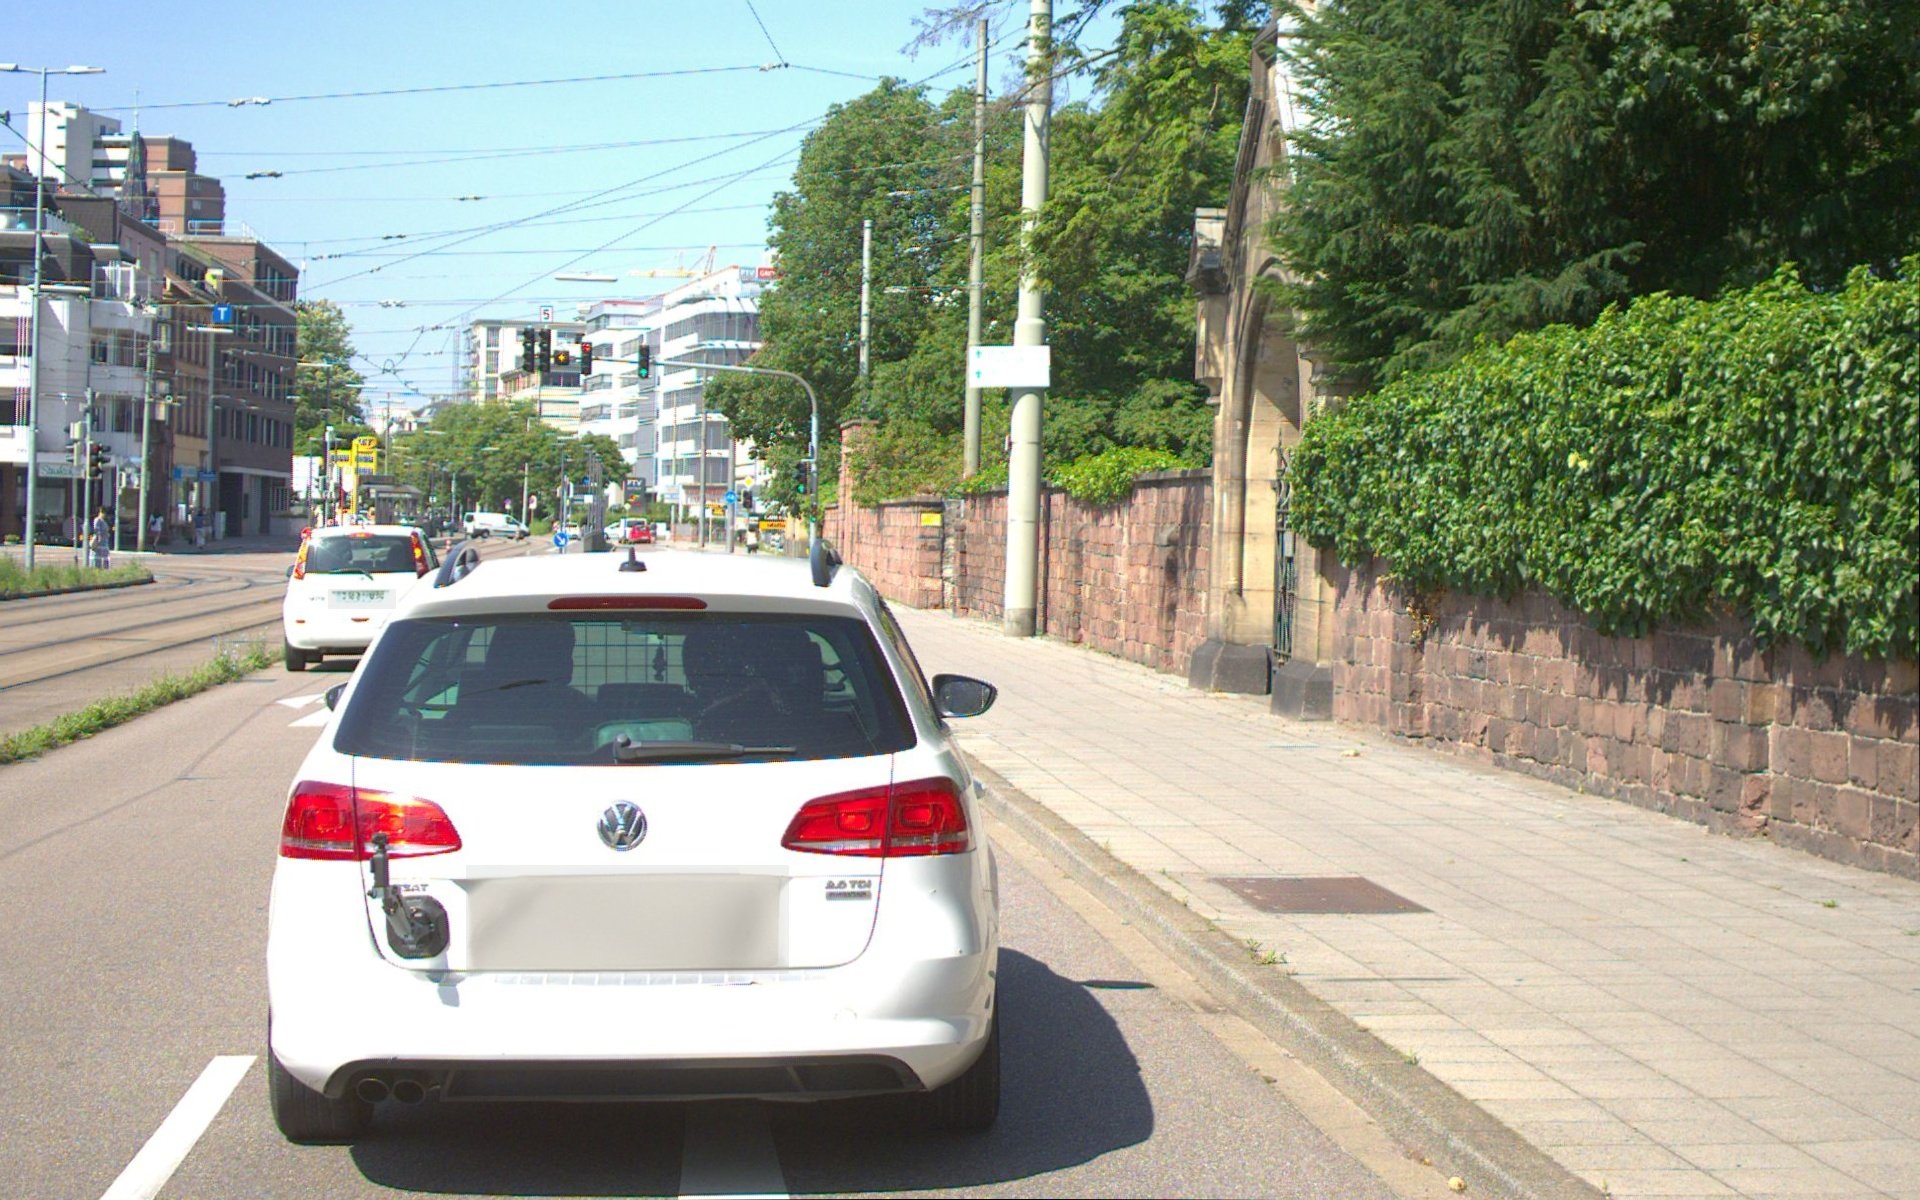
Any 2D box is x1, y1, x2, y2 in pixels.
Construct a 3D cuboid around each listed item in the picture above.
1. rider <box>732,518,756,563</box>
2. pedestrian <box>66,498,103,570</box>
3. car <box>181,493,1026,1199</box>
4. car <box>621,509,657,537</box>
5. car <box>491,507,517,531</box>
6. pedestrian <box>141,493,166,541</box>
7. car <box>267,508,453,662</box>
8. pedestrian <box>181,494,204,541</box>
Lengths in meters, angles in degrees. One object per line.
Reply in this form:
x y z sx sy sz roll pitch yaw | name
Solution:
-8.420 -2.339 133.964 0.891 1.722 2.204 1 1 -5 | rider
-21.188 -1.594 83.209 0.826 1.733 0.932 1 1 -13 | pedestrian
-0.792 0.487 9.269 1.778 1.485 3.847 1 1 -1 | car
-22.387 -5.387 239.433 1.993 1.897 4.001 1 1 -12 | car
-31.013 -5.500 233.834 1.698 1.585 3.536 1 1 -6 | car
-33.940 -3.493 144.709 0.936 2.007 0.991 1 1 -8 | pedestrian
-6.559 -0.205 37.899 1.730 1.590 4.012 1 1 -6 | car
-33.479 -3.606 150.011 0.936 2.007 0.991 1 1 -11 | pedestrian
